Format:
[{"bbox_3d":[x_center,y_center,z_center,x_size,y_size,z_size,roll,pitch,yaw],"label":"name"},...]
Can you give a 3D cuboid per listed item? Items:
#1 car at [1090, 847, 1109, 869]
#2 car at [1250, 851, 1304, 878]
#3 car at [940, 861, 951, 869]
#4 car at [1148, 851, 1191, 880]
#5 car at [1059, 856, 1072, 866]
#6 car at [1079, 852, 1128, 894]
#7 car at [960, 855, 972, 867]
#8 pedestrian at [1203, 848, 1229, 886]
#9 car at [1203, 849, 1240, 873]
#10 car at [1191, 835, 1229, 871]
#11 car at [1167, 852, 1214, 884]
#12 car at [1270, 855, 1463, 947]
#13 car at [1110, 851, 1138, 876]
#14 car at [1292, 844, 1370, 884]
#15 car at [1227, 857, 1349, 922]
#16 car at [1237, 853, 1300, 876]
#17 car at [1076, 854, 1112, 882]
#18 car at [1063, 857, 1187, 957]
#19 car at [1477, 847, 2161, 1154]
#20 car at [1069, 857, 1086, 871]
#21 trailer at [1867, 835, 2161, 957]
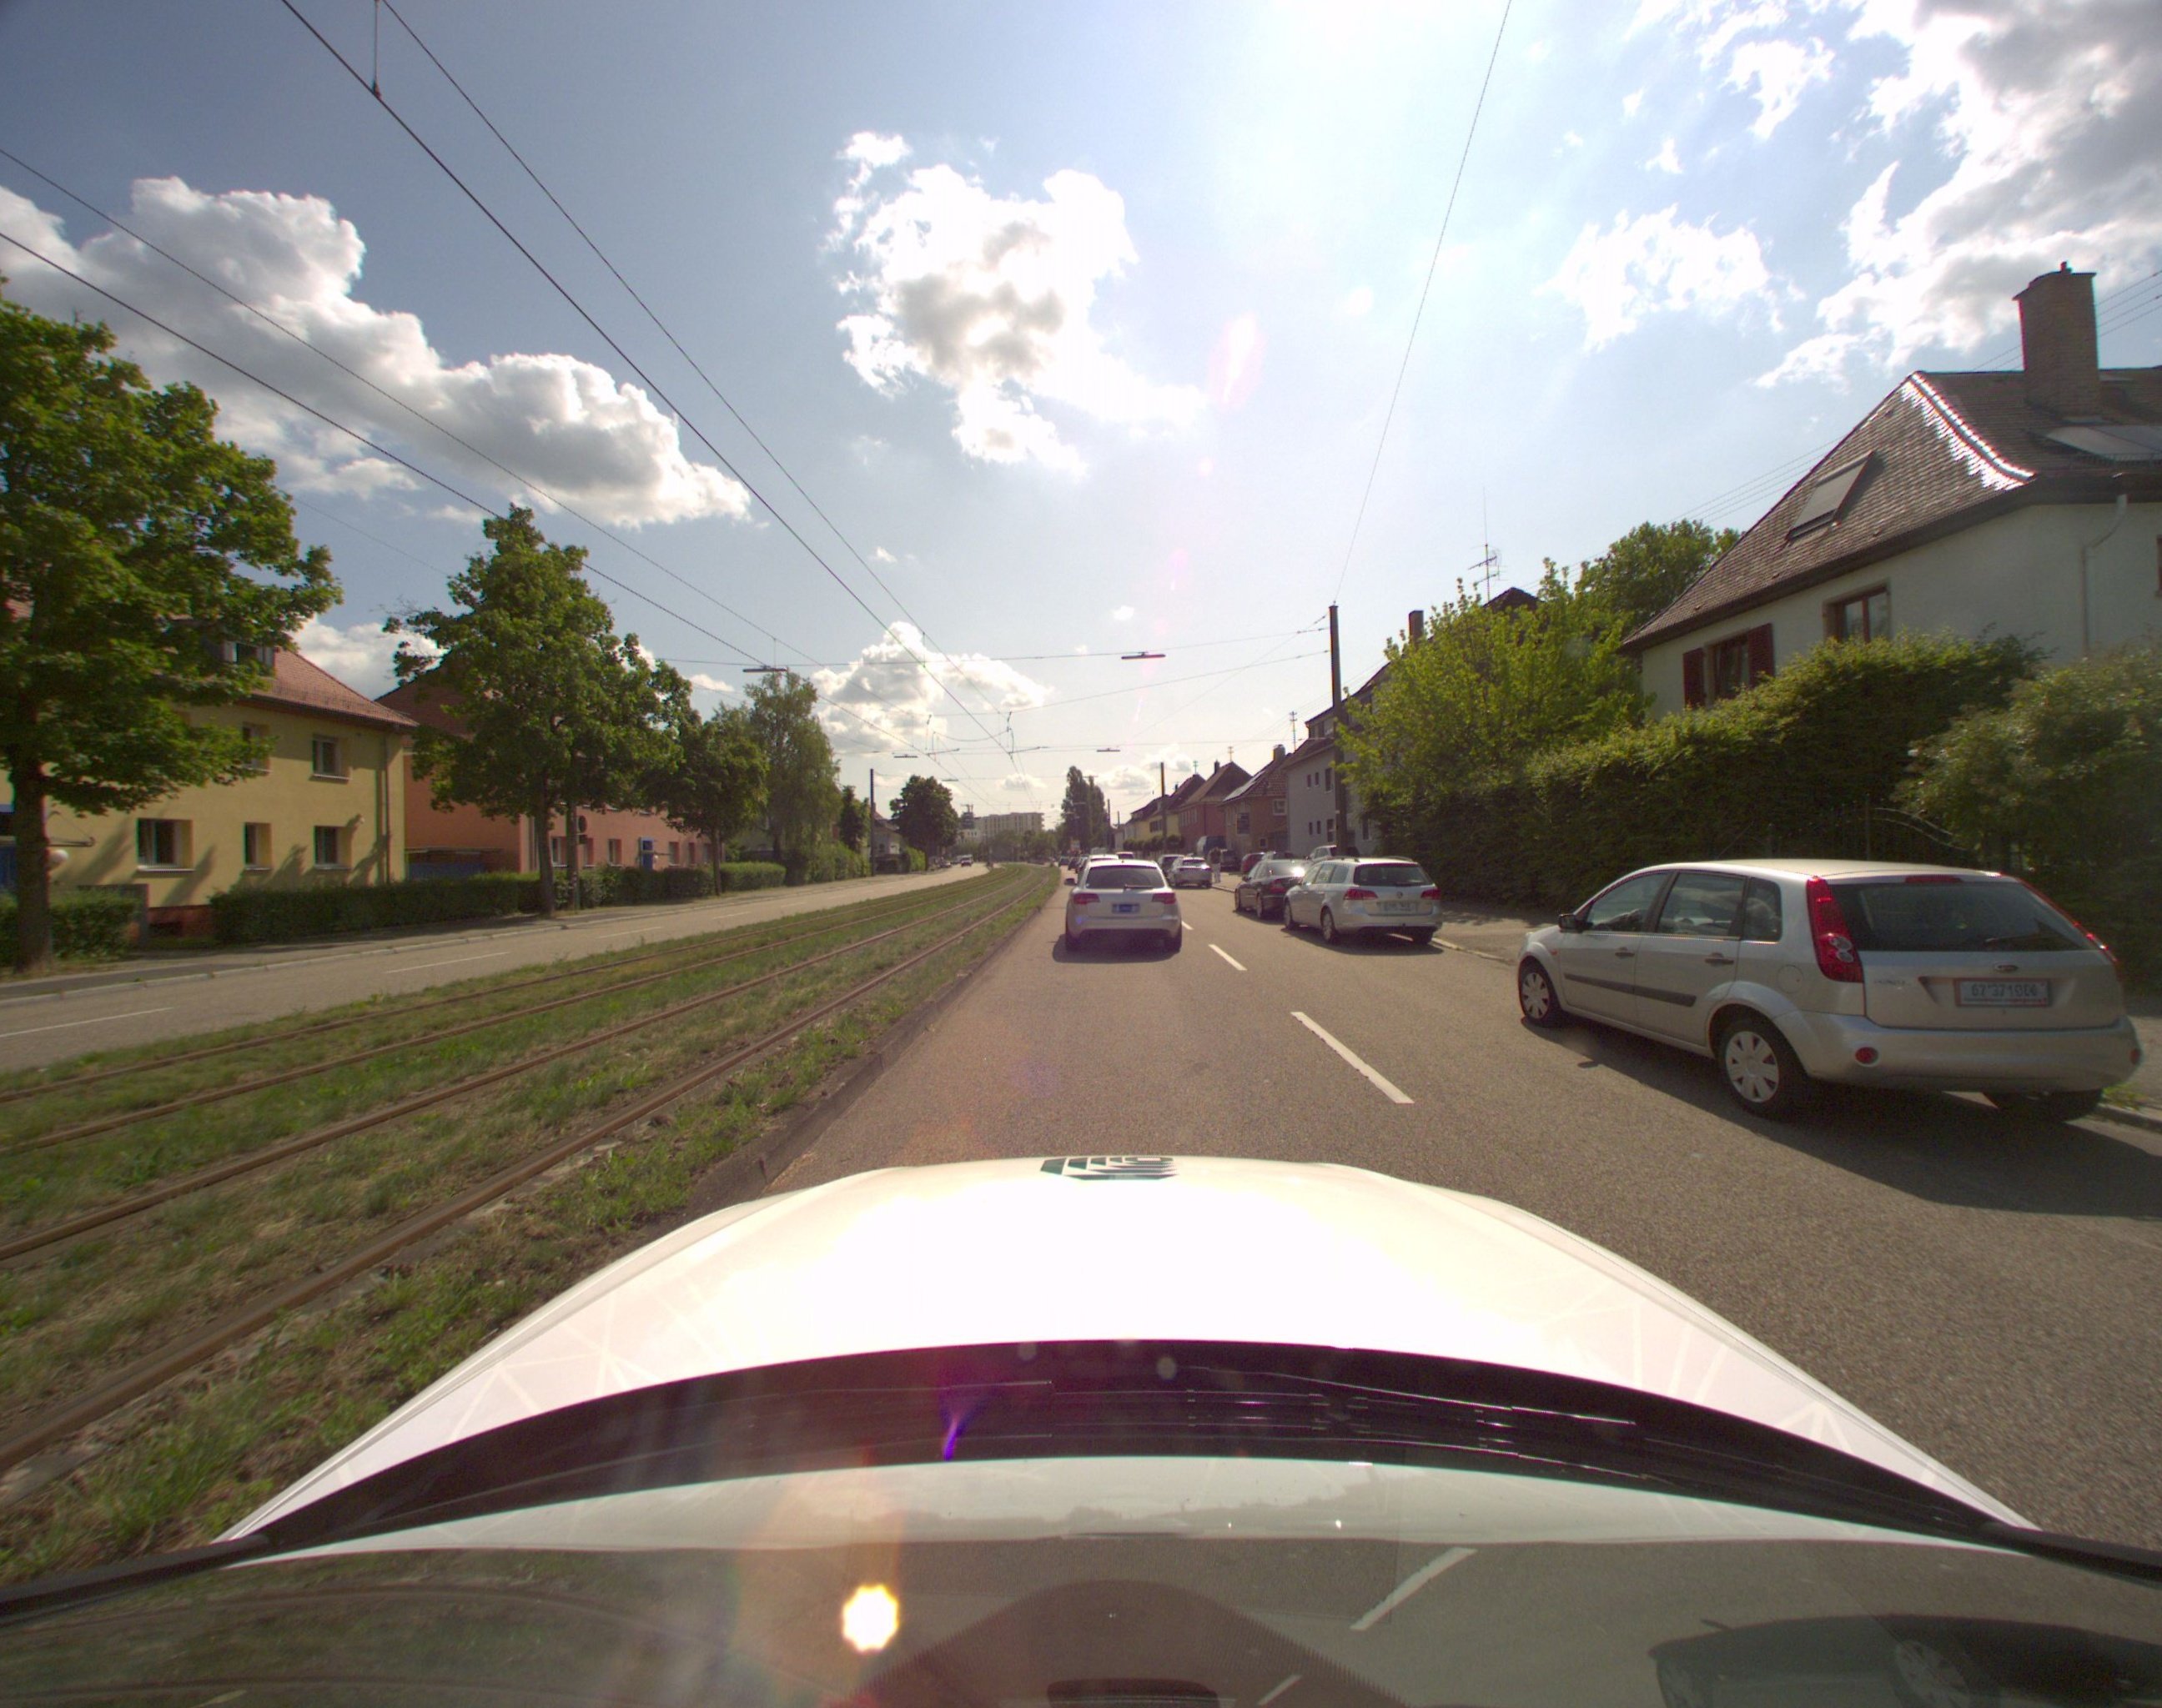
[{"bbox_3d":[2.278,0.521,99.916,2.035,2.557,5.228,-1,0,-1],"label":"car"},{"bbox_3d":[11.178,0.574,46.830,1.793,1.423,4.855,-2,0,-1],"label":"car"},{"bbox_3d":[-26.561,2.158,159.623,1.783,1.584,3.924,-1,0,-5],"label":"car"},{"bbox_3d":[4.984,0.635,46.287,1.803,1.559,4.249,0,-1,-3],"label":"car"},{"bbox_3d":[-2.303,1.073,120.770,1.879,1.530,4.093,0,-1,0],"label":"car"},{"bbox_3d":[0.862,0.729,33.067,1.782,1.577,4.092,1,0,-1],"label":"car"},{"bbox_3d":[-23.984,1.519,170.337,2.193,2.372,5.322,-3,-1,-5],"label":"car"},{"bbox_3d":[7.044,0.685,42.619,1.109,1.946,1.091,-1,-1,-1],"label":"pedestrian"},{"bbox_3d":[10.799,0.507,62.854,1.832,1.711,4.860,-3,0,-2],"label":"car"},{"bbox_3d":[10.838,-0.031,69.111,2.145,2.930,6.241,0,-1,-1],"label":"car"},{"bbox_3d":[5.215,0.667,39.218,1.808,1.454,4.645,0,-1,2],"label":"car"},{"bbox_3d":[5.092,0.773,15.368,1.884,1.455,5.005,0,-1,0],"label":"car"},{"bbox_3d":[3.175,0.702,59.667,1.877,1.731,4.098,-2,0,3],"label":"car"},{"bbox_3d":[11.210,0.450,36.869,1.753,1.647,4.763,-2,-1,-3],"label":"car"},{"bbox_3d":[5.092,0.801,20.805,1.893,1.443,5.058,0,0,1],"label":"car"},{"bbox_3d":[12.085,0.666,52.643,3.641,1.380,1.724,-1,-1,-4],"label":"car"},{"bbox_3d":[0.709,0.767,45.957,1.879,1.466,4.094,-2,0,0],"label":"car"},{"bbox_3d":[0.766,0.815,14.505,1.847,1.492,4.539,-1,0,3],"label":"car"},{"bbox_3d":[4.710,0.739,6.033,1.730,1.489,4.097,0,-1,3],"label":"car"},{"bbox_3d":[-0.397,1.081,89.326,1.879,1.530,4.093,0,-1,0],"label":"car"},{"bbox_3d":[12.814,0.461,10.216,4.231,1.326,1.674,-2,0,1],"label":"trailer"}]
